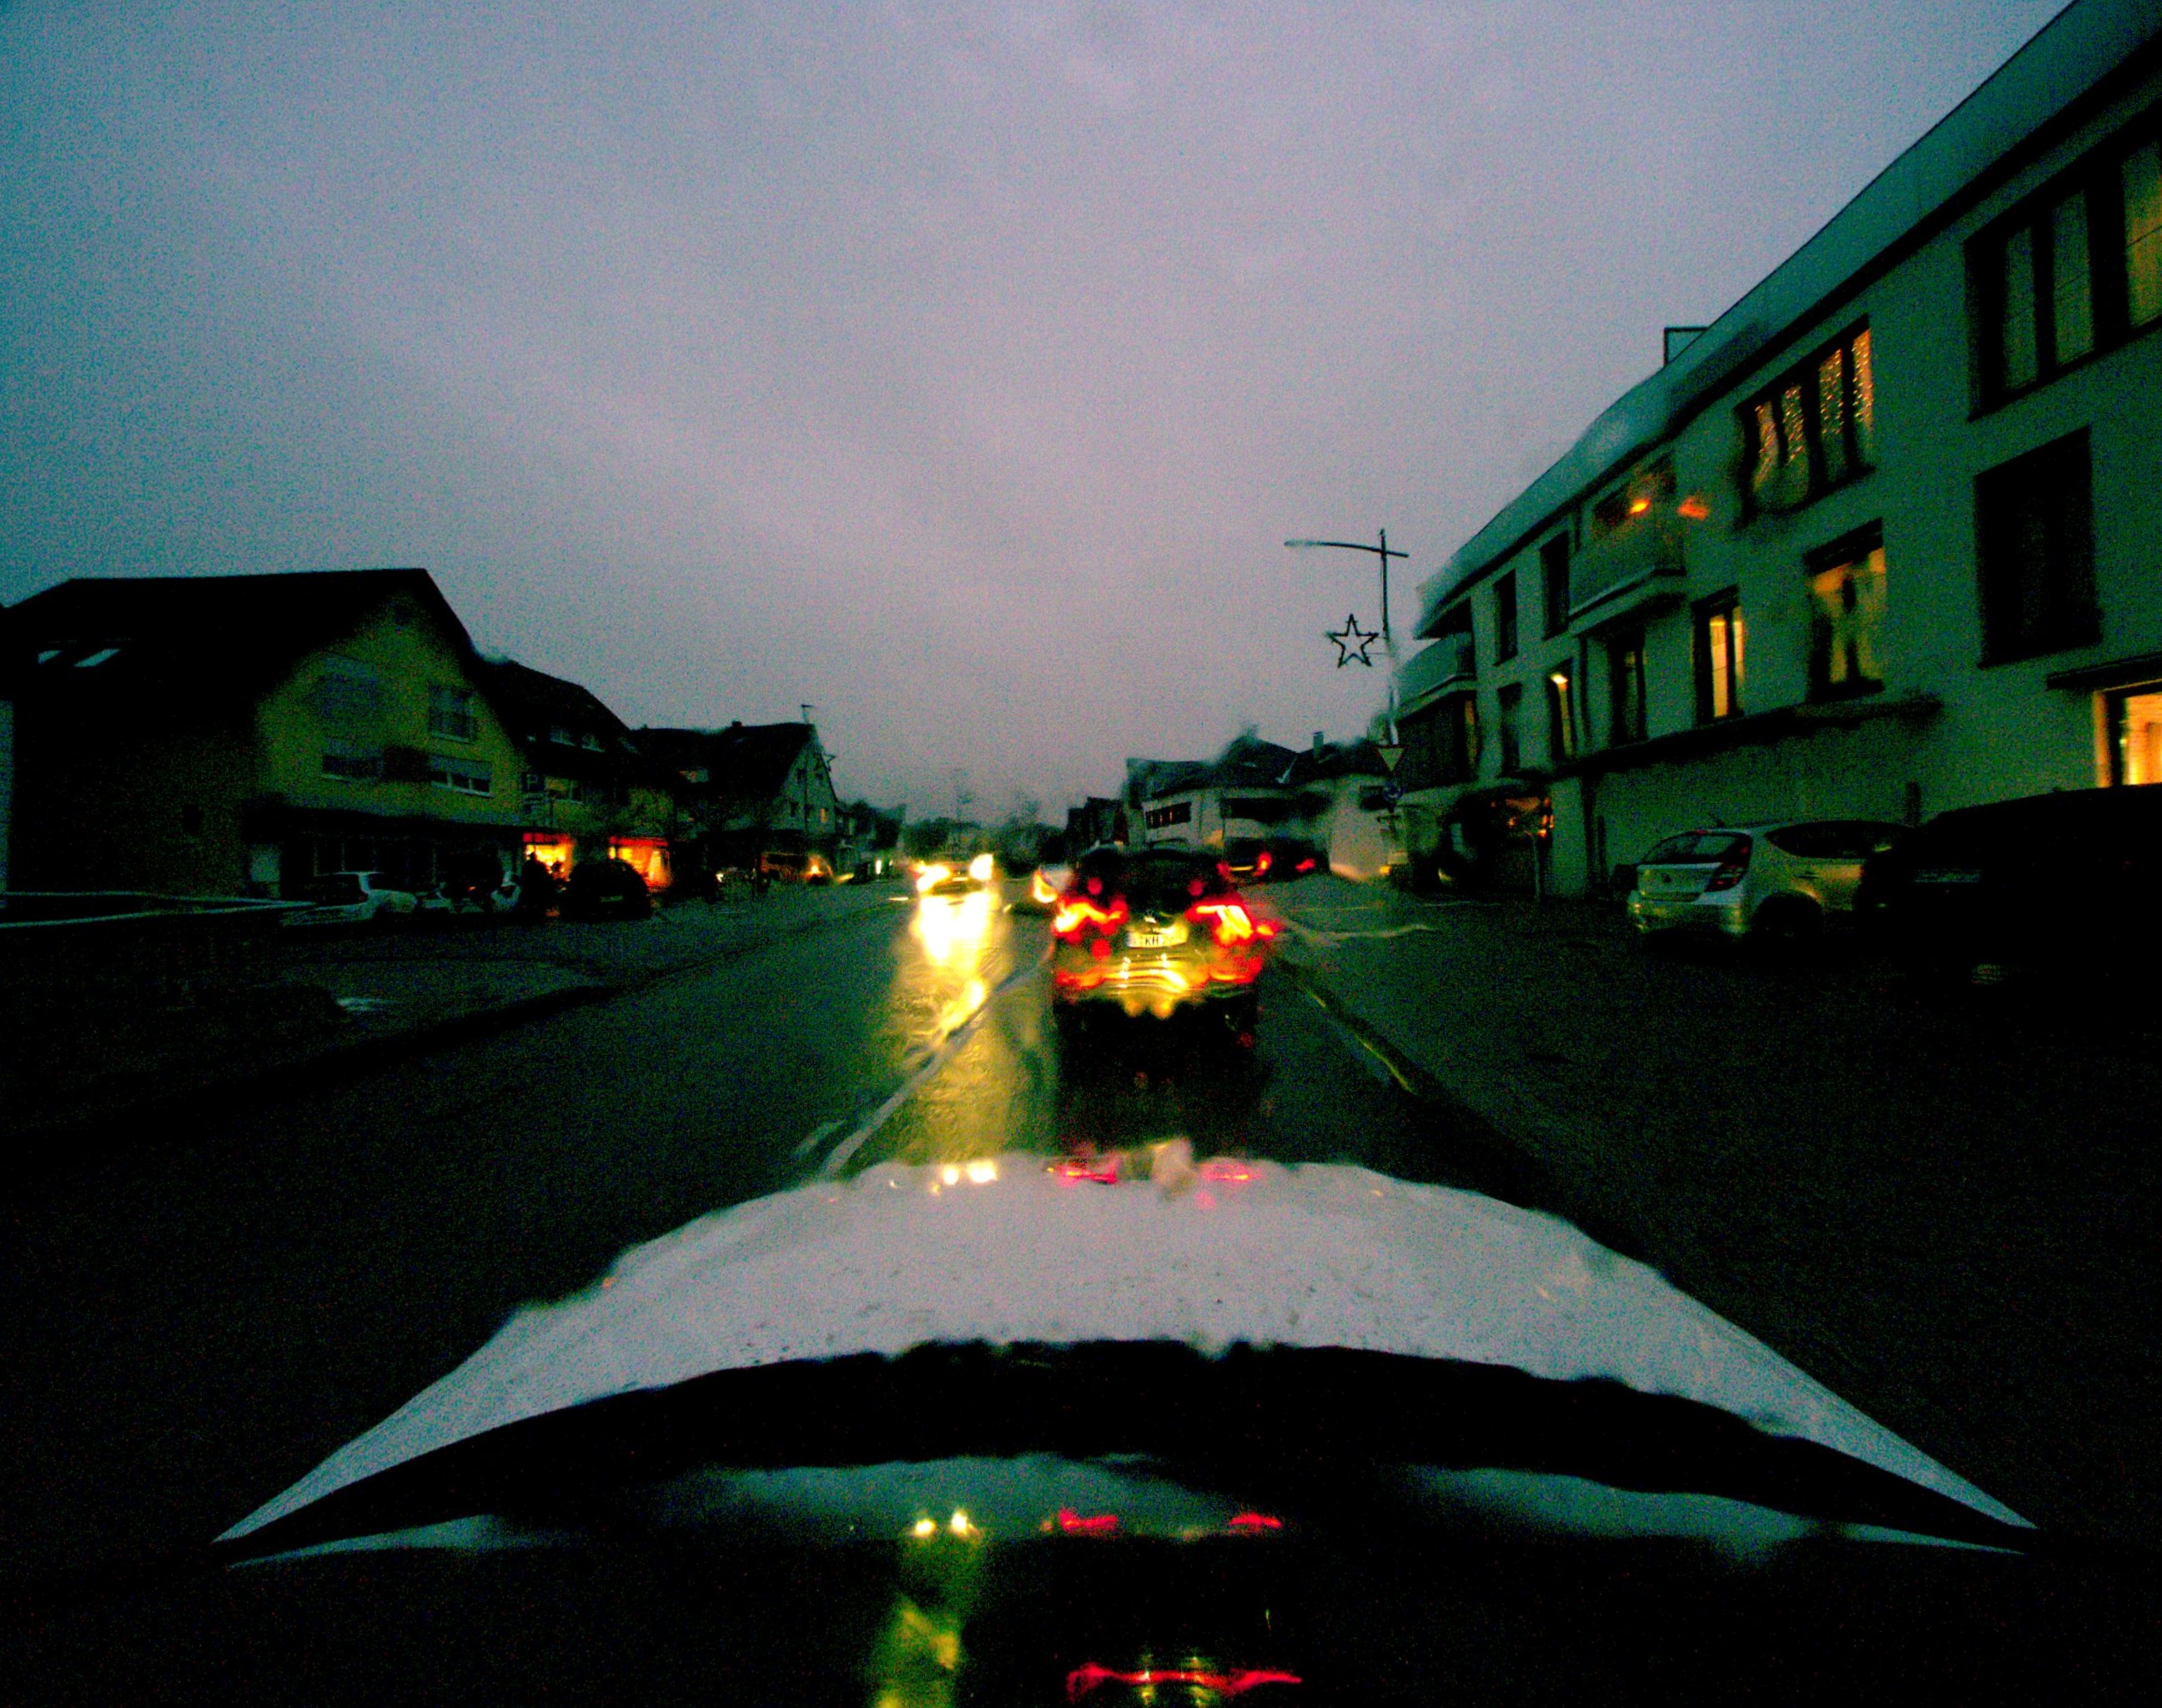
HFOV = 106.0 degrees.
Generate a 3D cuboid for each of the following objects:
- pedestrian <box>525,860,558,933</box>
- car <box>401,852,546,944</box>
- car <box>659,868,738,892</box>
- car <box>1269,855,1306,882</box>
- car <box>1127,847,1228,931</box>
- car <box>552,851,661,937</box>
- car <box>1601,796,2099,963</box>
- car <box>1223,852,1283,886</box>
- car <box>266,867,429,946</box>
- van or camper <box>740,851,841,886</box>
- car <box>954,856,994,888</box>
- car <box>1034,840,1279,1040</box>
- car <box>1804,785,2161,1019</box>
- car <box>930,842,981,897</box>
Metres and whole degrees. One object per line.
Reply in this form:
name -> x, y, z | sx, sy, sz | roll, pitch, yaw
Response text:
pedestrian -> -13.102, 1.016, 19.801 | 0.498, 1.701, 0.707 | -3, 0, -26
car -> -14.581, 0.972, 19.823 | 2.048, 1.925, 4.022 | -1, 0, -26
car -> -23.664, 1.587, 50.489 | 3.977, 1.365, 1.726 | -1, 0, -3
car -> 12.428, 0.864, 48.860 | 1.979, 1.418, 4.016 | -3, -1, 15
car -> 1.786, 0.601, 16.115 | 1.676, 1.453, 4.002 | 0, 0, 2
car -> -11.983, 0.923, 20.836 | 2.048, 1.925, 4.022 | -1, 0, -26
car -> 8.668, 0.261, 9.413 | 4.198, 1.460, 1.790 | -4, -1, -5
car -> 8.188, 0.667, 38.432 | 1.976, 1.391, 4.022 | -3, 0, 23
car -> -17.487, 1.169, 19.662 | 1.831, 1.613, 4.022 | -1, 0, -25
van or camper -> -17.477, 0.882, 48.994 | 5.489, 1.954, 2.008 | -1, 0, 15
car -> -7.151, 1.236, 54.828 | 1.986, 2.014, 4.000 | 1, -2, 2
car -> 0.682, 0.683, 8.663 | 1.957, 1.594, 4.315 | 0, 0, 2
car -> 8.425, 0.198, 6.293 | 4.198, 1.460, 1.790 | -4, -1, -5
car -> -5.411, 0.661, 35.137 | 1.993, 2.204, 4.404 | 1, -1, -9
